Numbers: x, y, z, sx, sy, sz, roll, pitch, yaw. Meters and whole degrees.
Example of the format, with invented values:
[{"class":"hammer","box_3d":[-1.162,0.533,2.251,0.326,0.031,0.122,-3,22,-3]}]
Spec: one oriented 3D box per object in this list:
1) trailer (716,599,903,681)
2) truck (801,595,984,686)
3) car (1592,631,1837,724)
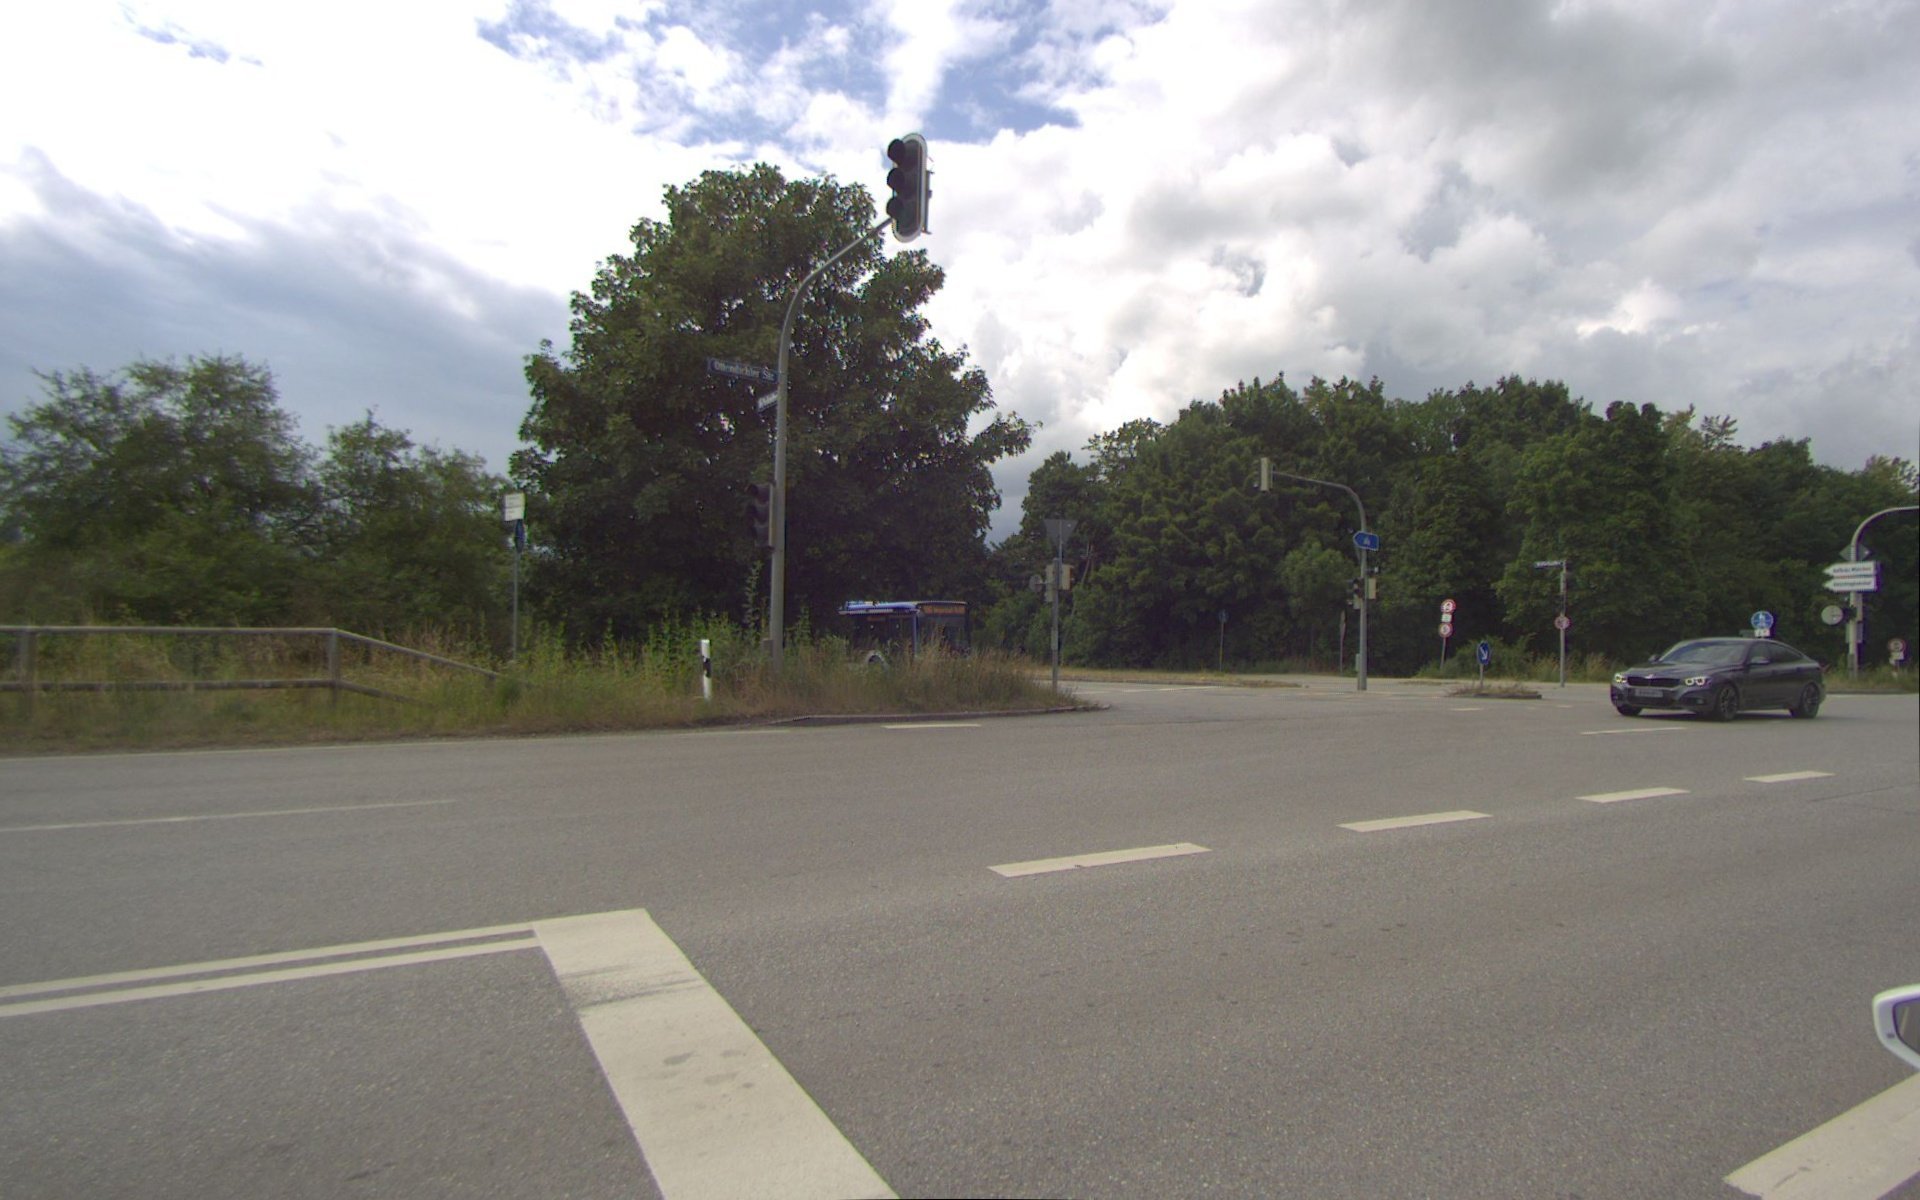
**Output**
[{"class":"trailer","box_3d":[-6.686,1.623,42.654,2.863,3.077,10.633,1,-2,-39]},{"class":"truck","box_3d":[-2.735,1.470,37.810,2.863,3.077,7.852,1,-2,-39]},{"class":"car","box_3d":[14.179,1.409,18.814,4.842,1.550,1.782,2,-3,-28]}]
